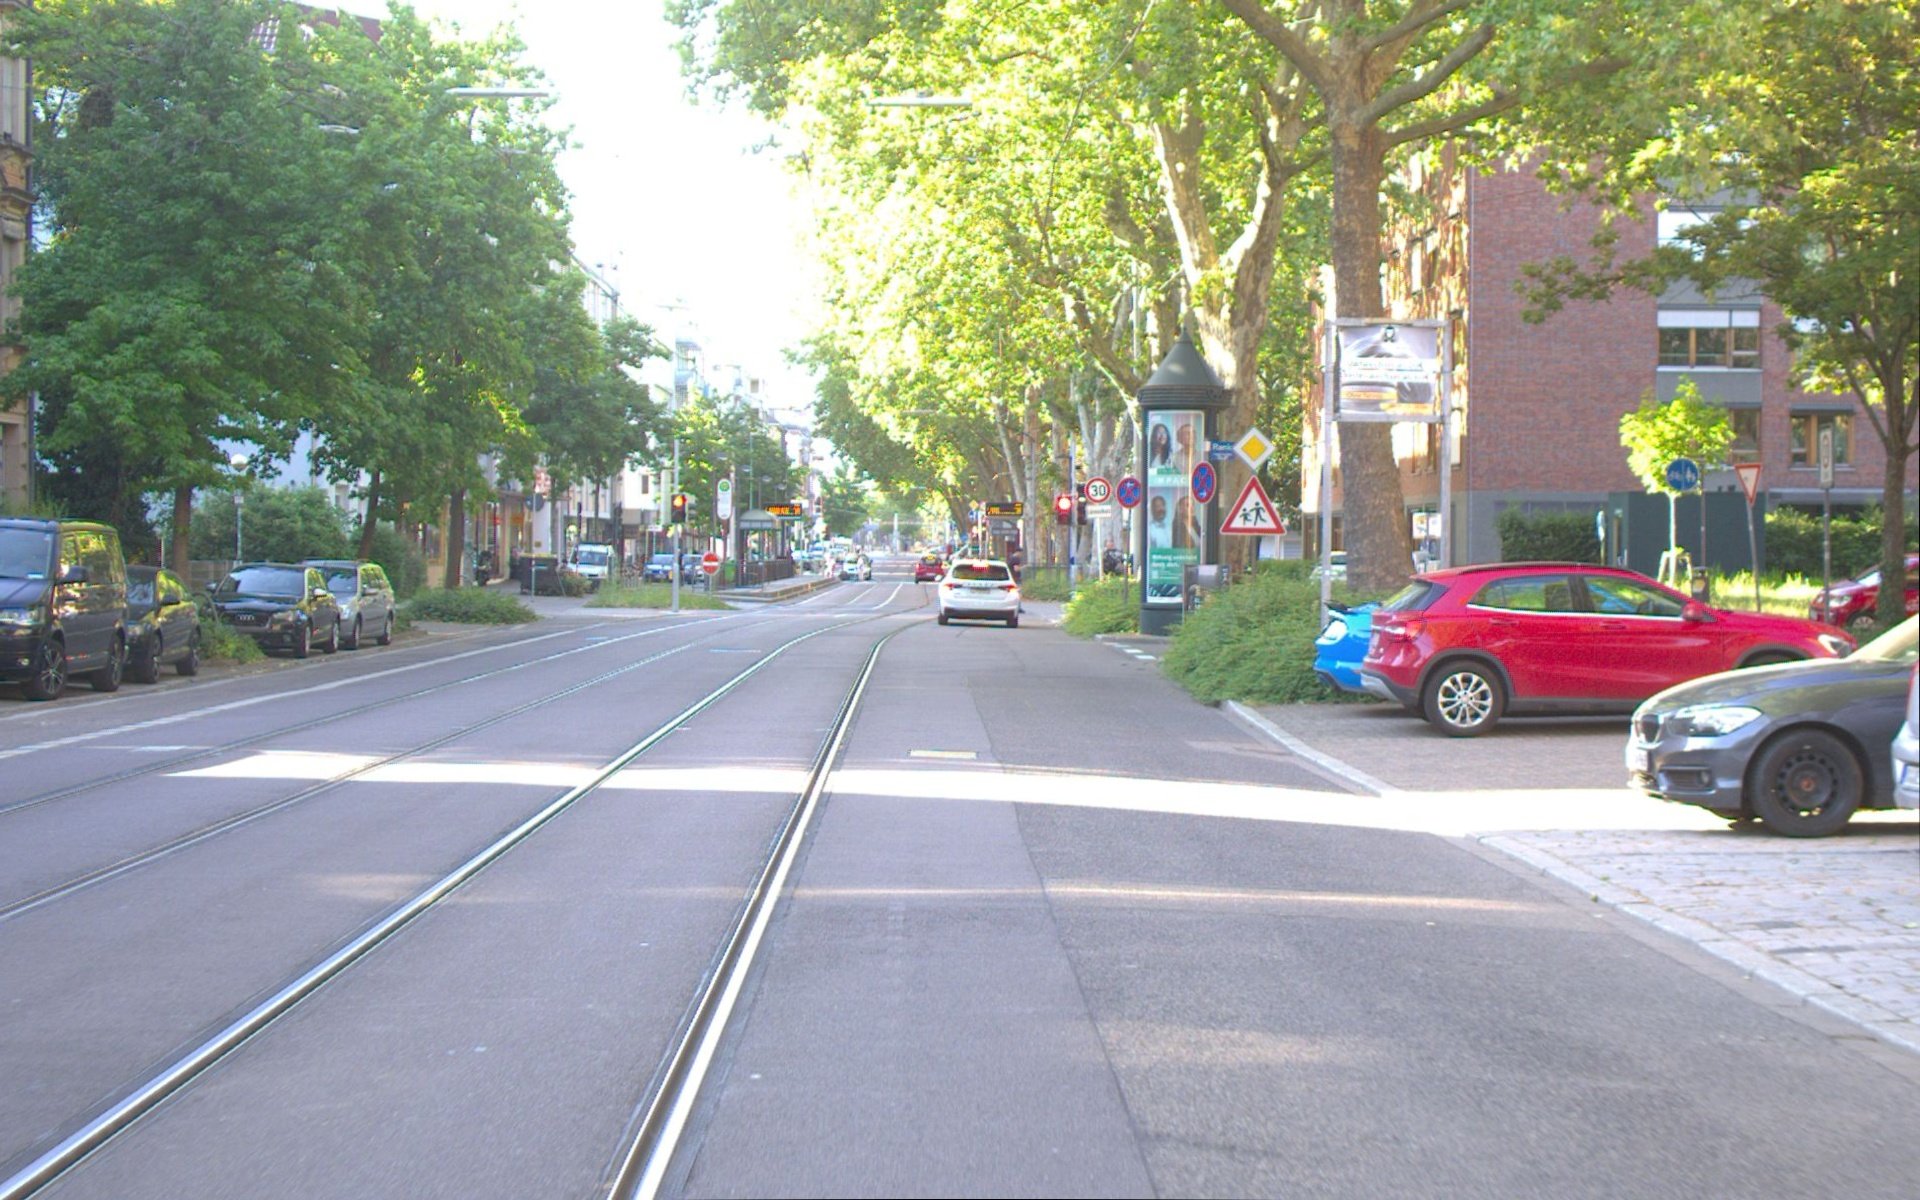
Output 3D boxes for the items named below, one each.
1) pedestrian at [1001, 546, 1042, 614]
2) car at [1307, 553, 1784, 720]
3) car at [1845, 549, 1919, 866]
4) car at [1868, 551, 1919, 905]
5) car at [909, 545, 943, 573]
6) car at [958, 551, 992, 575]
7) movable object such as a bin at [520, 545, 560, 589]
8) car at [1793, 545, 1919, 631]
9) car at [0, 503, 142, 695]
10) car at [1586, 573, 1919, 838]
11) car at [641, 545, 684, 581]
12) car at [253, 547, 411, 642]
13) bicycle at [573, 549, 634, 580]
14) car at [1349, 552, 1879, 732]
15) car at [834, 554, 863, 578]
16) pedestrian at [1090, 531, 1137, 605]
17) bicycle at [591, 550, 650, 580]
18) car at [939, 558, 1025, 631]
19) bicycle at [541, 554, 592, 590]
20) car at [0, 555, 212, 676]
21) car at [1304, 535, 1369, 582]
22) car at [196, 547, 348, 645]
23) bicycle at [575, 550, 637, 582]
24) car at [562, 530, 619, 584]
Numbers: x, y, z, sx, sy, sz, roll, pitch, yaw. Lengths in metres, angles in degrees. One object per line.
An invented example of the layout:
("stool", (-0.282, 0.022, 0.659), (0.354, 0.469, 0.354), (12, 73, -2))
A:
("pedestrian", (1.645, -0.550, 92.077), (0.994, 1.805, 0.864), (0, 1, -6))
("car", (5.573, 0.323, 33.114), (4.404, 1.537, 1.817), (0, 1, 7))
("car", (6.840, 0.526, 17.534), (4.200, 1.550, 1.817), (0, 1, 2))
("car", (6.357, 0.576, 15.238), (4.200, 1.568, 1.817), (0, 1, 2))
("car", (-1.805, -2.191, 182.908), (1.788, 1.508, 4.000), (0, 1, -1))
("car", (0.894, -2.254, 210.645), (1.993, 1.448, 4.000), (0, 1, -1))
("movable object such as a bin", (-13.567, -1.071, 111.070), (1.169, 1.344, 0.783), (4, 0, -5))
("car", (16.291, -0.216, 59.038), (3.537, 1.447, 1.684), (0, 1, -2))
("car", (-10.658, -0.051, 38.472), (1.993, 2.007, 4.835), (0, 1, -2))
("car", (5.909, 0.581, 19.951), (4.199, 1.443, 1.818), (0, 1, -1))
("car", (-13.519, -1.711, 156.388), (1.593, 1.543, 4.000), (3, 1, -1))
("car", (-10.804, -0.123, 59.419), (1.700, 1.545, 4.536), (1, 1, 2))
("bicycle", (-13.854, -1.367, 133.660), (2.253, 1.070, 0.636), (4, 1, 1))
("car", (5.785, 0.354, 30.831), (4.403, 1.537, 1.952), (0, 1, 2))
("car", (-6.714, -2.067, 207.117), (1.693, 1.414, 4.000), (0, 1, -1))
("pedestrian", (3.970, -0.838, 88.951), (0.982, 1.857, 1.016), (-3, 1, -6))
("bicycle", (-13.749, -1.404, 139.211), (2.253, 1.070, 0.636), (4, 1, 1))
("car", (0.453, -0.141, 74.631), (1.788, 1.508, 4.000), (0, 1, -1))
("bicycle", (-12.947, -0.922, 113.147), (1.533, 1.071, 0.885), (3, 1, -1))
("car", (-10.826, 0.159, 43.644), (1.853, 1.453, 4.270), (0, 1, -2))
("car", (12.284, -1.354, 112.275), (1.600, 1.490, 3.417), (0, 1, -2))
("car", (-10.736, -0.093, 53.854), (1.658, 1.440, 3.950), (1, 1, -1))
("bicycle", (-13.579, -1.304, 131.937), (2.253, 1.070, 0.636), (4, 1, 1))
("car", (-13.346, -1.569, 124.465), (1.688, 1.933, 4.000), (0, 1, -1))
